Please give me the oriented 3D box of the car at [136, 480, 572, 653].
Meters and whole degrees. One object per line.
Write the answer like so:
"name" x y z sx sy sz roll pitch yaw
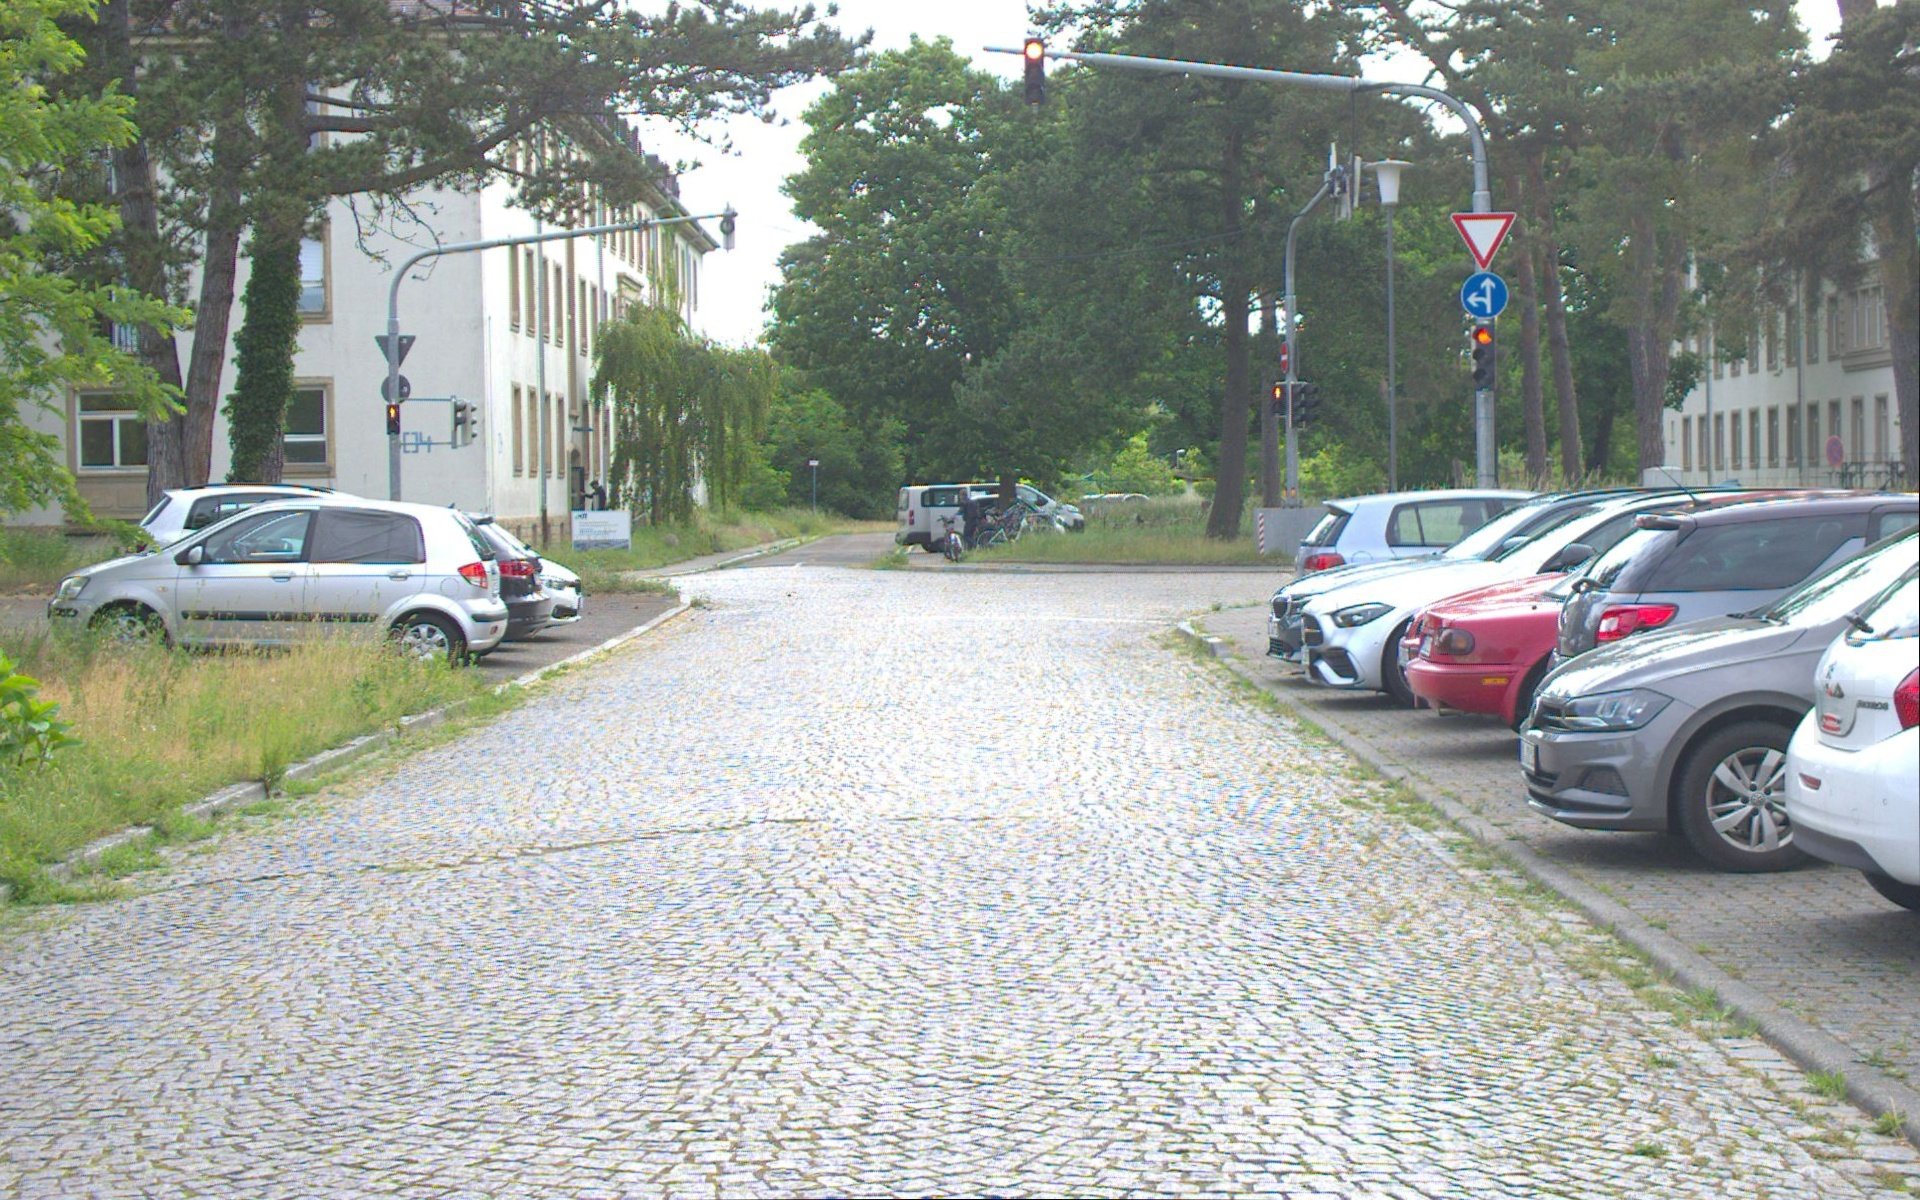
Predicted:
"car" -5.528 -0.326 31.661 3.745 1.423 1.583 2 2 -3

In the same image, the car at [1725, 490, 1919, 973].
"car" 4.734 0.314 11.569 3.862 1.467 1.758 -2 2 -1

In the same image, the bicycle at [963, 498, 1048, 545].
"bicycle" 1.080 -1.846 80.761 1.955 1.066 0.588 -2 2 -29

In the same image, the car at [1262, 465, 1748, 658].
"car" 4.662 -0.350 29.785 3.927 1.472 1.642 -2 2 2

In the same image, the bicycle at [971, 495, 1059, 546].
"bicycle" 1.252 -1.827 78.642 1.954 1.128 0.588 -1 2 -6

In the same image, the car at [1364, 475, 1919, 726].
"car" 4.898 -0.042 22.382 4.262 1.411 1.871 -2 2 0

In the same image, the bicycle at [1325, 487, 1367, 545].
"bicycle" 7.456 -1.628 66.481 0.586 1.102 1.962 -1 2 0

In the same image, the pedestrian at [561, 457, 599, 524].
"pedestrian" -10.445 -3.003 94.449 0.774 1.831 0.741 -2 2 -31

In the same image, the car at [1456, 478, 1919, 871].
"car" 4.175 0.224 14.437 3.862 1.467 1.758 -2 2 -1

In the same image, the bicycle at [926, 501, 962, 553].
"bicycle" -0.354 -1.611 75.464 0.603 1.128 1.962 -1 2 -6

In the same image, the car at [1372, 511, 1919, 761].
"car" 4.452 0.166 19.911 3.862 1.232 1.758 -2 2 -1

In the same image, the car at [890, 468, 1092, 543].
"car" 0.861 -2.669 96.716 5.359 1.918 2.026 -2 2 -8

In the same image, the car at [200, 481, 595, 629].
"car" -6.004 -0.497 36.985 3.947 1.416 1.650 2 2 0

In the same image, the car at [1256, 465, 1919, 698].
"car" 4.524 -0.163 24.651 4.421 1.411 1.872 -3 2 -8

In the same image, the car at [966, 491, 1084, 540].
"car" 1.754 -2.296 93.354 3.005 1.264 1.536 -1 2 -5

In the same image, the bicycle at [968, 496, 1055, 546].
"bicycle" 1.188 -1.824 79.277 1.954 1.113 0.588 -1 2 -6

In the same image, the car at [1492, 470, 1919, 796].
"car" 4.776 0.092 17.272 3.862 1.467 1.758 -2 2 -1

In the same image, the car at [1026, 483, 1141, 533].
"car" 3.594 -2.705 100.576 3.231 1.411 1.725 -1 2 -2

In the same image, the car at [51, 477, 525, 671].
"car" -5.625 -0.238 29.065 3.702 1.474 1.583 2 2 -3

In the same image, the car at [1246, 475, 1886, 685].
"car" 4.742 -0.188 27.337 4.680 1.411 1.871 -2 2 -2

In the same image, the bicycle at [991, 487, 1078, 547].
"bicycle" 1.728 -1.935 80.100 1.954 1.379 0.588 -1 2 -6

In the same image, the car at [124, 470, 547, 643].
"car" -6.202 -0.454 34.443 3.947 1.558 1.650 2 2 -3
